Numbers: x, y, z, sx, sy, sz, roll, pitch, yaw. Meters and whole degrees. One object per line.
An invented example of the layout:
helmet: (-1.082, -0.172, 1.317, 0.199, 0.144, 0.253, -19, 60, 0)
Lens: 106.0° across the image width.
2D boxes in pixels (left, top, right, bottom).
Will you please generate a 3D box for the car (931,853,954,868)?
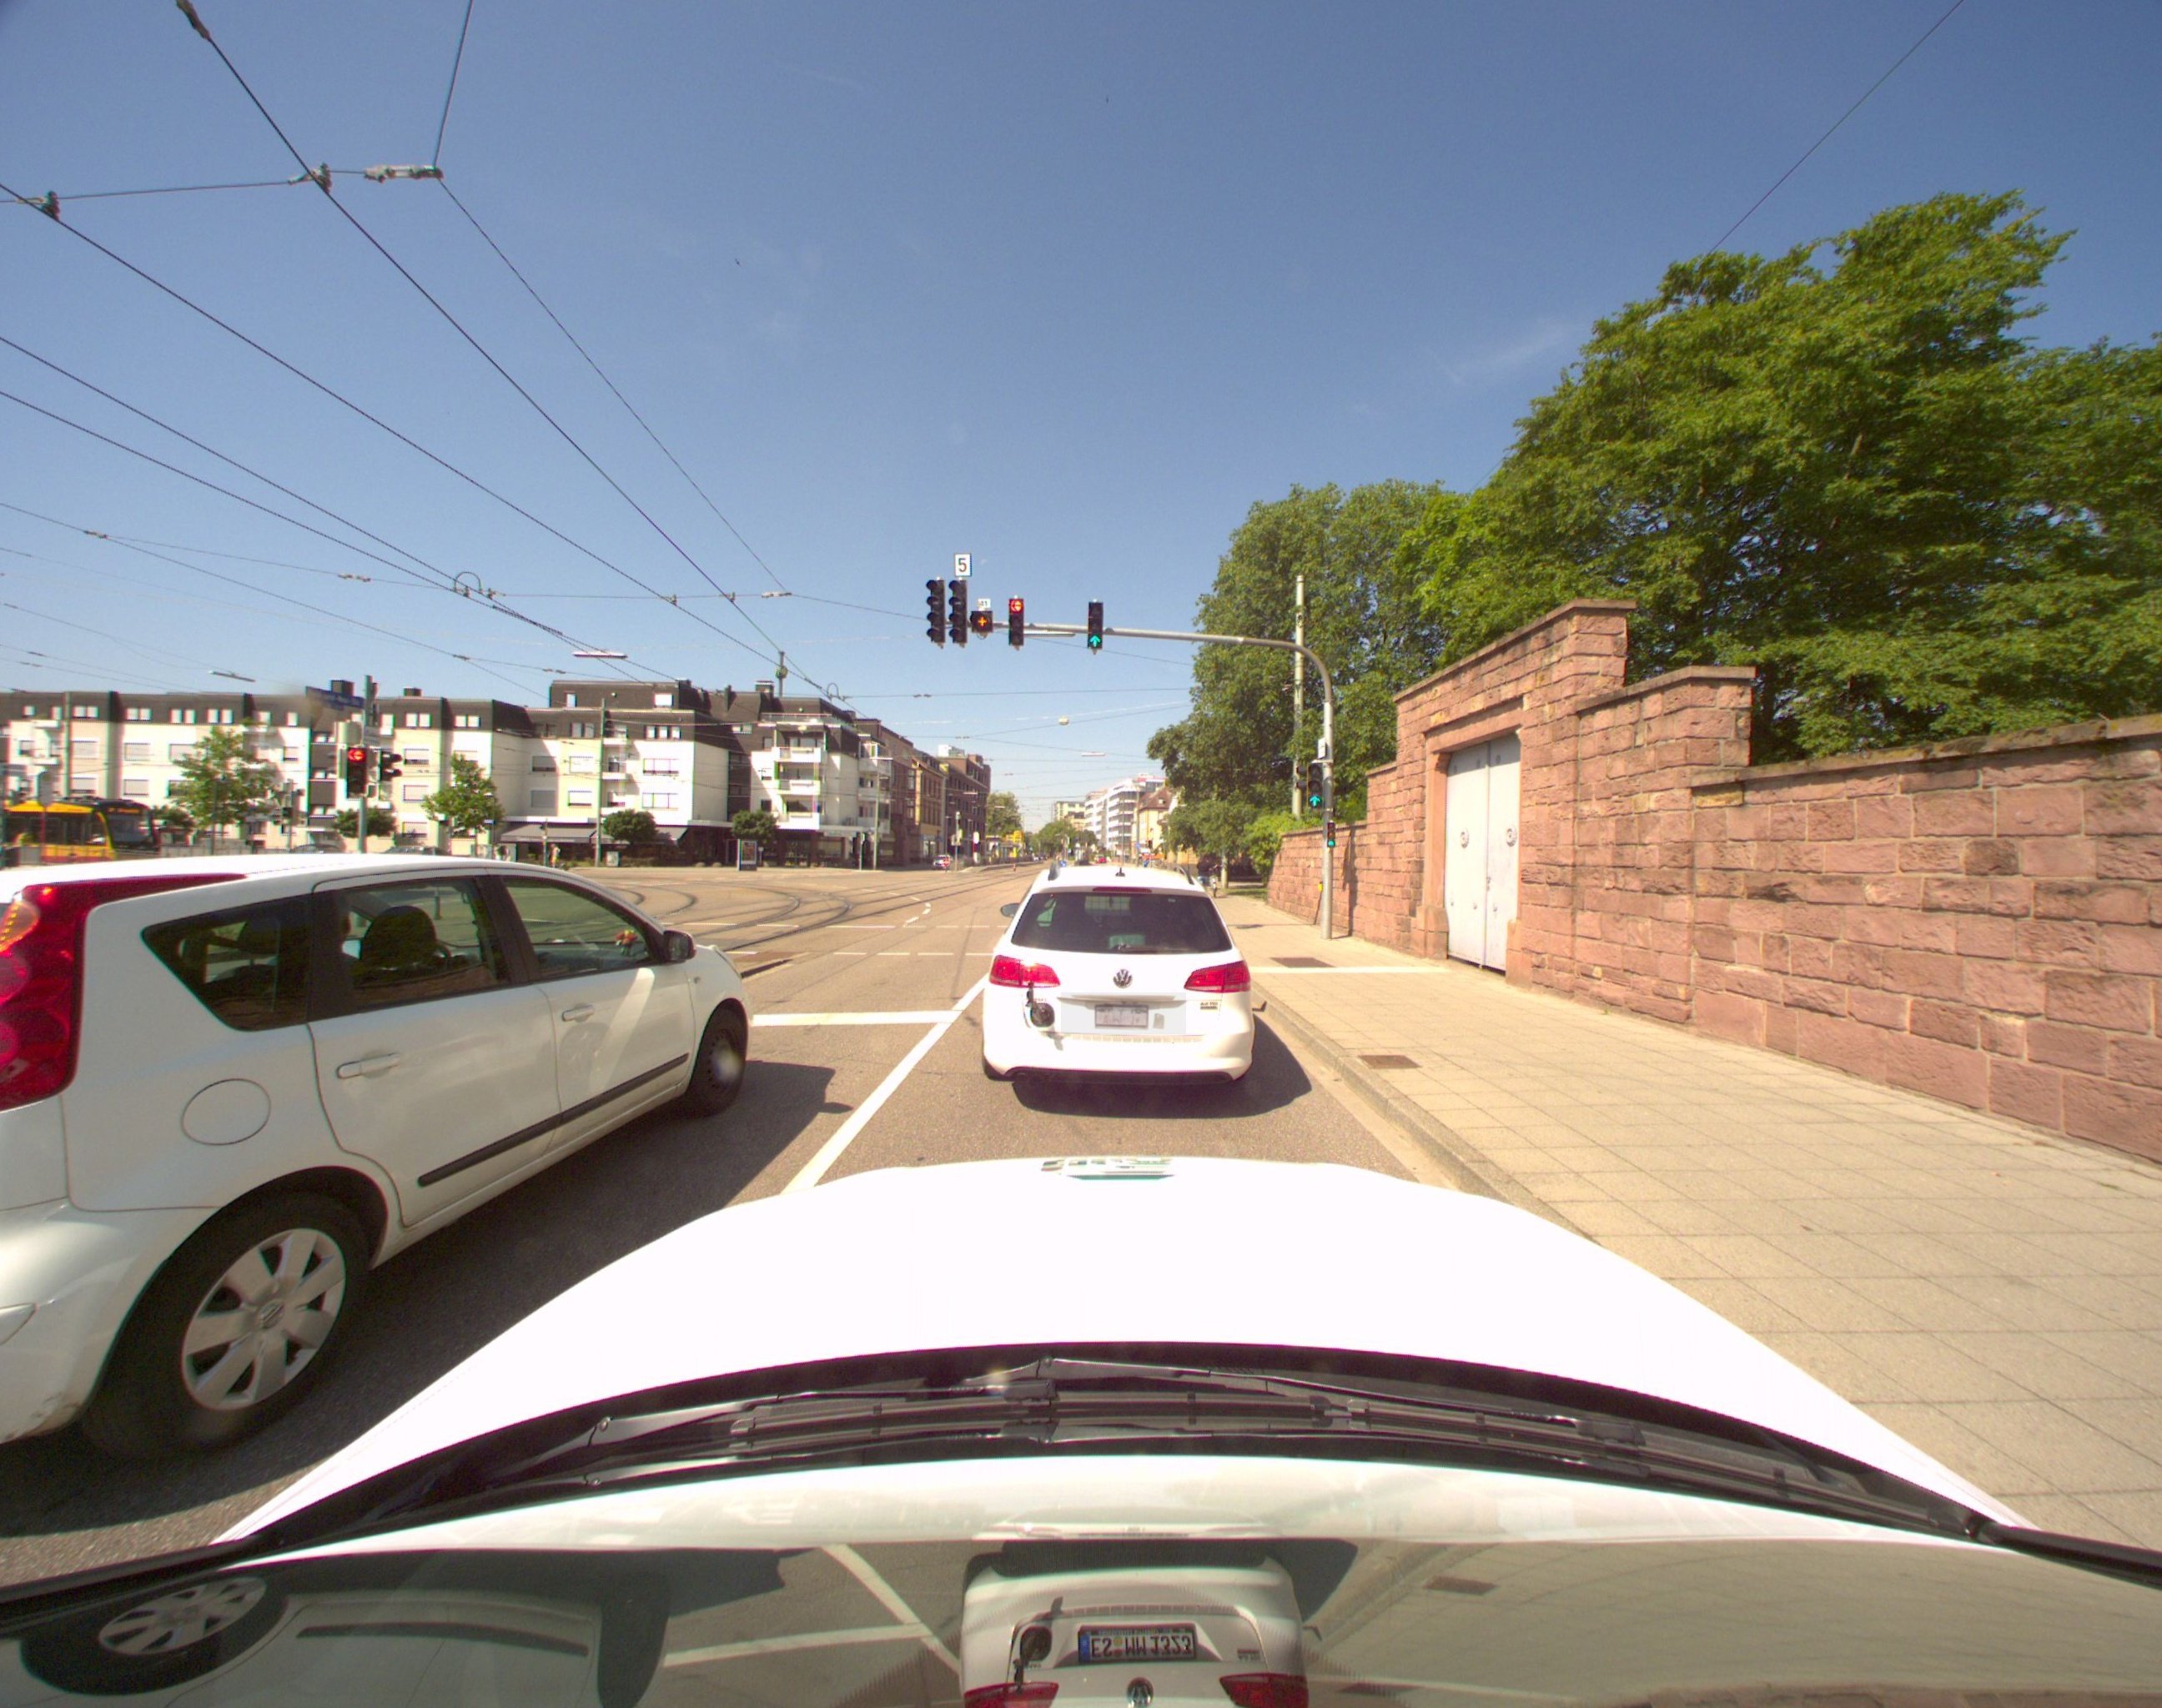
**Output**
car: (-13.698, 0.663, 80.740, 1.620, 1.431, 3.962, 2, 0, 0)

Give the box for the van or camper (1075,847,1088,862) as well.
van or camper: (0.146, 0.110, 187.164, 2.935, 3.180, 6.611, 1, 0, -1)

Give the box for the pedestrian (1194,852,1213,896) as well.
pedestrian: (4.318, 0.696, 28.702, 0.538, 1.549, 0.663, -1, 0, 1)

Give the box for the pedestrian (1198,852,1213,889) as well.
pedestrian: (5.732, 0.753, 37.395, 0.646, 1.682, 0.709, 1, 0, 9)

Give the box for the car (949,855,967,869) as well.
car: (-13.363, 0.837, 88.614, 1.568, 1.459, 3.811, 1, 0, -2)

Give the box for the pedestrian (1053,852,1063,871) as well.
pedestrian: (-2.181, 0.709, 76.248, 0.823, 1.809, 0.834, 1, 0, 2)

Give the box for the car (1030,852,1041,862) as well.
car: (-9.181, 0.546, 163.504, 1.987, 2.014, 3.999, 0, -1, 0)

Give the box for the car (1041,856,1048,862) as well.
car: (-10.313, 1.428, 229.547, 1.662, 1.466, 3.774, 1, 0, 1)

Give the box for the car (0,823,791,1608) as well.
car: (-2.968, 0.729, 3.647, 1.759, 1.561, 4.068, 0, 0, 2)

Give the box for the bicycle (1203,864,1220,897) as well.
bicycle: (4.578, 0.907, 28.484, 0.532, 1.111, 1.812, 0, -1, 11)

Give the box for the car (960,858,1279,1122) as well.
car: (0.278, 0.762, 6.434, 1.746, 1.418, 3.854, 1, 0, 2)

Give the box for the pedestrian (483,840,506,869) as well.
pedestrian: (-35.855, 0.021, 49.780, 0.757, 1.760, 0.813, 1, 0, 6)

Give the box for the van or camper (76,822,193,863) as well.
van or camper: (-62.655, -0.740, 53.991, 4.859, 2.624, 2.376, 1, 0, 0)

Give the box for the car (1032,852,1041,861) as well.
car: (-10.901, 0.613, 200.678, 1.987, 2.014, 3.999, 0, -1, 0)

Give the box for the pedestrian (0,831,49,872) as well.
pedestrian: (-48.842, -0.105, 37.622, 1.193, 1.837, 0.897, 1, 0, 1)

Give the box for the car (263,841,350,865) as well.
car: (-51.204, -0.067, 53.915, 3.973, 1.500, 1.828, 1, 0, 0)

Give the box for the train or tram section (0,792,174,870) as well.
train or tram section: (-53.601, -1.159, 40.505, 13.814, 3.658, 2.769, 1, 0, 1)

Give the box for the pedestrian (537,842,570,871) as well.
pedestrian: (-34.270, 0.175, 52.873, 1.108, 1.836, 1.448, 0, 0, 34)

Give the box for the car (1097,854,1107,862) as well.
car: (5.022, 0.966, 192.539, 1.989, 2.013, 3.996, 1, 0, -3)

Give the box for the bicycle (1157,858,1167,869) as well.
bicycle: (8.941, 1.043, 90.094, 0.720, 1.139, 2.203, 1, 0, 14)

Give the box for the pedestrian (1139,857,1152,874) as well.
pedestrian: (5.756, 1.035, 73.147, 0.848, 1.510, 0.786, 0, -1, 42)

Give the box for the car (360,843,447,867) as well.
car: (-44.937, 0.081, 54.067, 4.158, 1.500, 1.828, 1, 0, 0)
